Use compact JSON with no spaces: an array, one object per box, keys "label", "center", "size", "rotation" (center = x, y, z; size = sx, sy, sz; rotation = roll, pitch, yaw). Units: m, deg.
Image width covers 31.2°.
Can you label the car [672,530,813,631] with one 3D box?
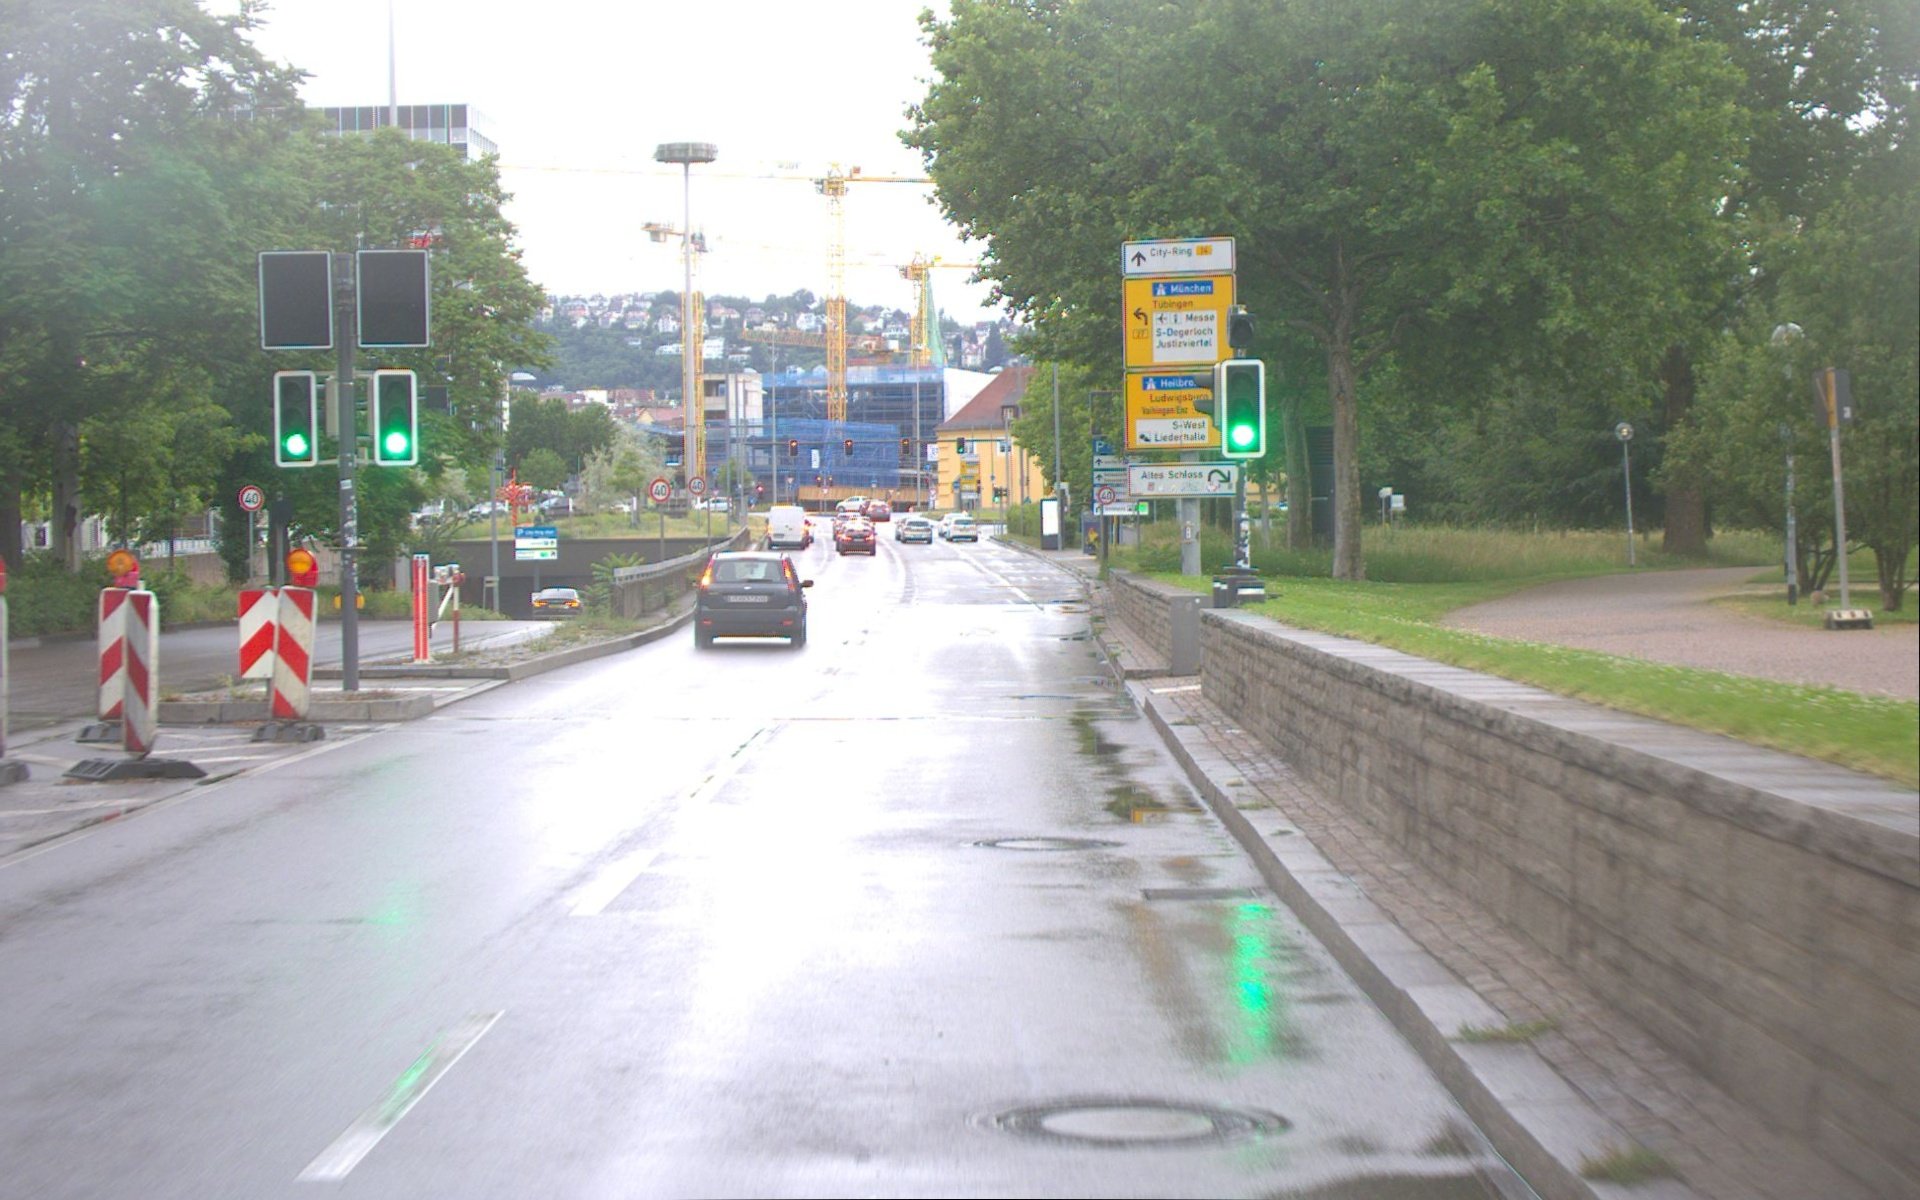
[{"label":"car","center":[-3.354,-0.289,52.449],"size":[1.843,1.411,3.840],"rotation":[-2,0,-8]}]

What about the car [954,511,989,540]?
[{"label":"car","center":[0.696,-4.489,208.525],"size":[1.993,1.594,4.000],"rotation":[-2,0,1]}]

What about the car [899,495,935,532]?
[{"label":"car","center":[-2.529,-5.067,201.858],"size":[1.987,2.007,4.000],"rotation":[-2,0,-1]}]

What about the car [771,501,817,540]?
[{"label":"car","center":[-8.930,-4.277,184.887],"size":[2.220,2.007,4.000],"rotation":[0,0,1]}]

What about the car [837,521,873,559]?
[{"label":"car","center":[-5.343,-3.034,174.726],"size":[1.739,1.765,4.000],"rotation":[-2,0,-2]}]

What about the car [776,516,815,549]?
[{"label":"car","center":[-9.662,-3.951,201.975],"size":[1.993,1.776,4.000],"rotation":[-2,0,1]}]

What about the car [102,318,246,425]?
[{"label":"car","center":[-13.533,-3.926,59.394],"size":[1.993,1.626,4.001],"rotation":[-1,1,-7]}]

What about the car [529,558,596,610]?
[{"label":"car","center":[-14.399,-0.601,124.736],"size":[1.993,1.774,4.000],"rotation":[-1,1,-1]}]
